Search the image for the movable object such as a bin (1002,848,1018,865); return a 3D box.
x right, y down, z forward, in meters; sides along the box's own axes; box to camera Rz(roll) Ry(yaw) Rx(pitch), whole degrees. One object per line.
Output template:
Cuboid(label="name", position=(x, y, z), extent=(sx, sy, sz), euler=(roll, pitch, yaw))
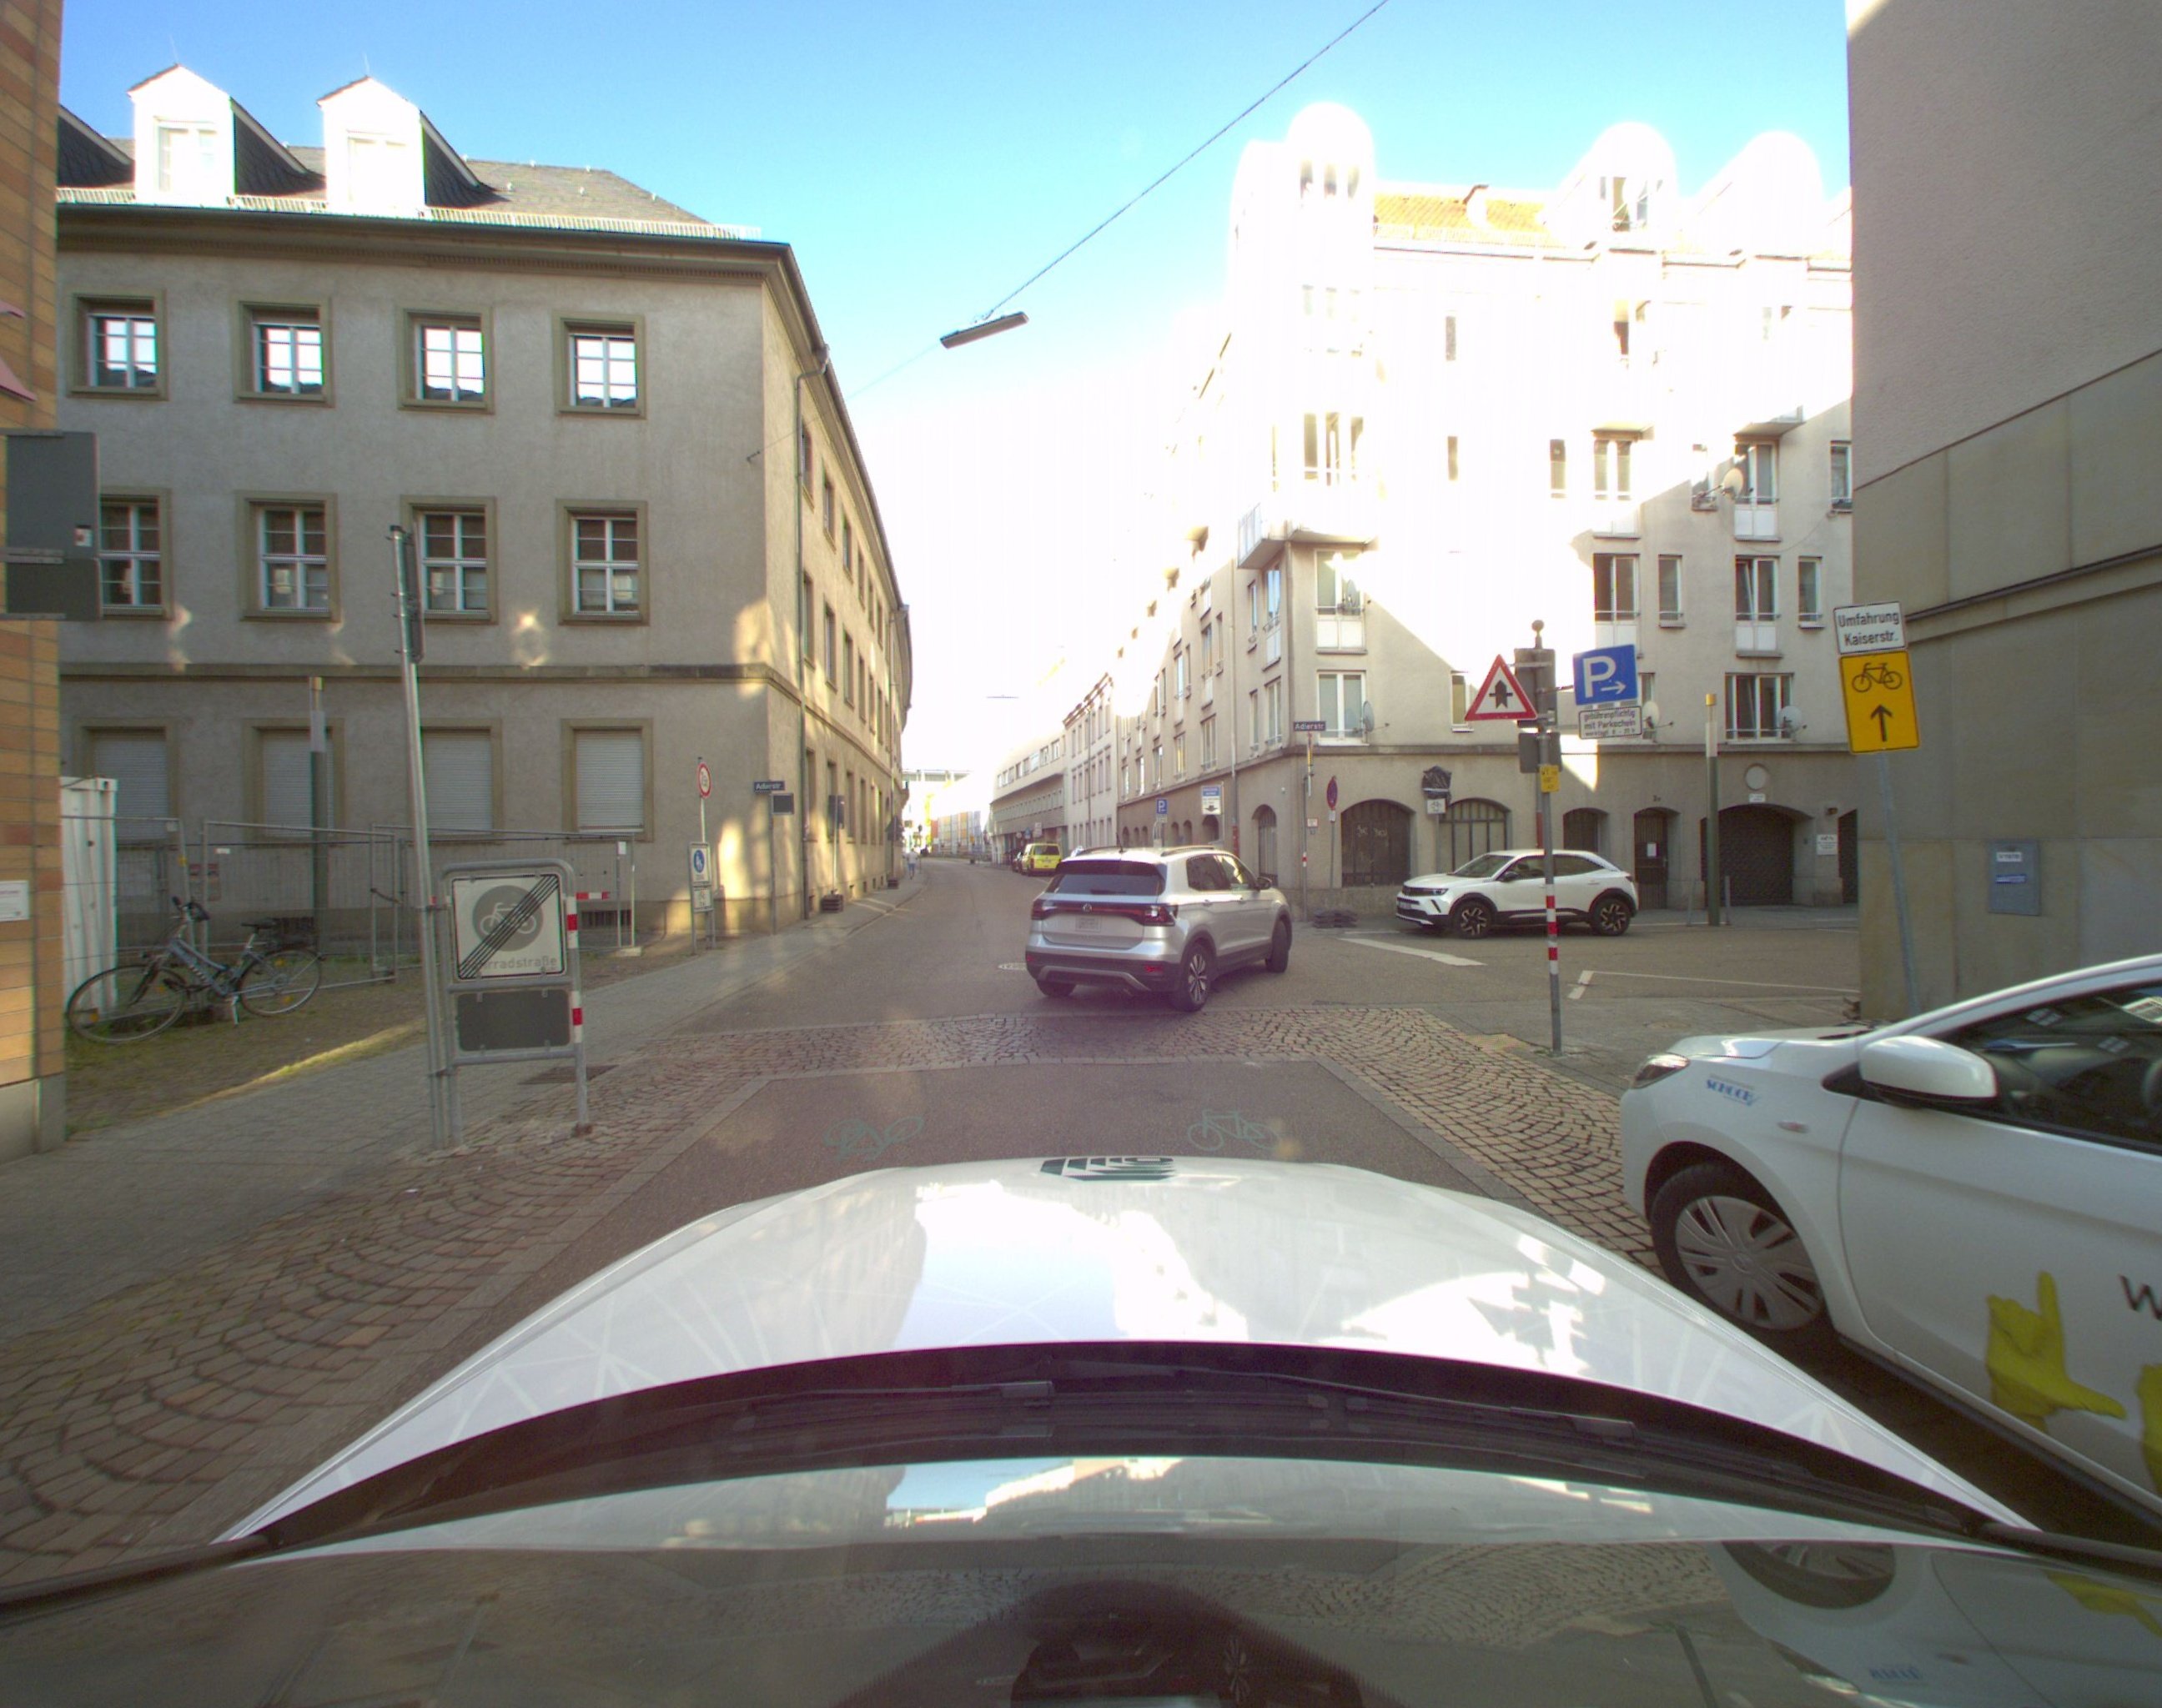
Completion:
Cuboid(label="movable object such as a bin", position=(-6.419, 0.238, 73.900), extent=(1.134, 1.479, 1.730), euler=(-1, 0, -15))

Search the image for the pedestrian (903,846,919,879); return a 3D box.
Cuboid(label="pedestrian", position=(-9.035, 0.438, 43.298), extent=(0.767, 1.724, 0.684), euler=(-1, 0, -13))

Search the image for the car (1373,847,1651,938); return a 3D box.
Cuboid(label="car", position=(7.885, 0.665, 15.174), extent=(4.204, 1.553, 1.901), euler=(0, 0, -2))

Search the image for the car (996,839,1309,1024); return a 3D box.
Cuboid(label="car", position=(1.039, 0.655, 9.194), extent=(1.819, 1.562, 4.026), euler=(-1, 1, 33))

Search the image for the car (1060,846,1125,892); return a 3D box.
Cuboid(label="car", position=(0.374, 0.530, 31.537), extent=(1.966, 1.692, 4.091), euler=(0, 0, -7))

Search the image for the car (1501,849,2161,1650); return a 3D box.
Cuboid(label="car", position=(2.990, 0.755, 1.755), extent=(1.885, 1.518, 4.057), euler=(0, 0, -4))

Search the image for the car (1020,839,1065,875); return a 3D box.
Cuboid(label="car", position=(-2.314, 0.157, 47.989), extent=(2.054, 2.013, 4.158), euler=(-1, 1, -12))

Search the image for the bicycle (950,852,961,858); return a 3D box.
Cuboid(label="bicycle", position=(-21.107, 0.187, 136.560), extent=(1.782, 1.000, 0.544), euler=(-1, 0, -13))

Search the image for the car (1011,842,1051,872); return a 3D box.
Cuboid(label="car", position=(-3.344, 0.200, 53.769), extent=(2.054, 1.873, 4.084), euler=(-1, 1, -12))

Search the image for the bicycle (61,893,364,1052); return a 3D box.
Cuboid(label="bicycle", position=(-8.068, 1.026, 7.699), extent=(0.802, 1.201, 1.781), euler=(0, 1, 15))

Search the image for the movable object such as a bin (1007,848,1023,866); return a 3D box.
Cuboid(label="movable object such as a bin", position=(-5.852, 0.219, 72.200), extent=(1.134, 1.558, 1.730), euler=(-1, 0, -15))
